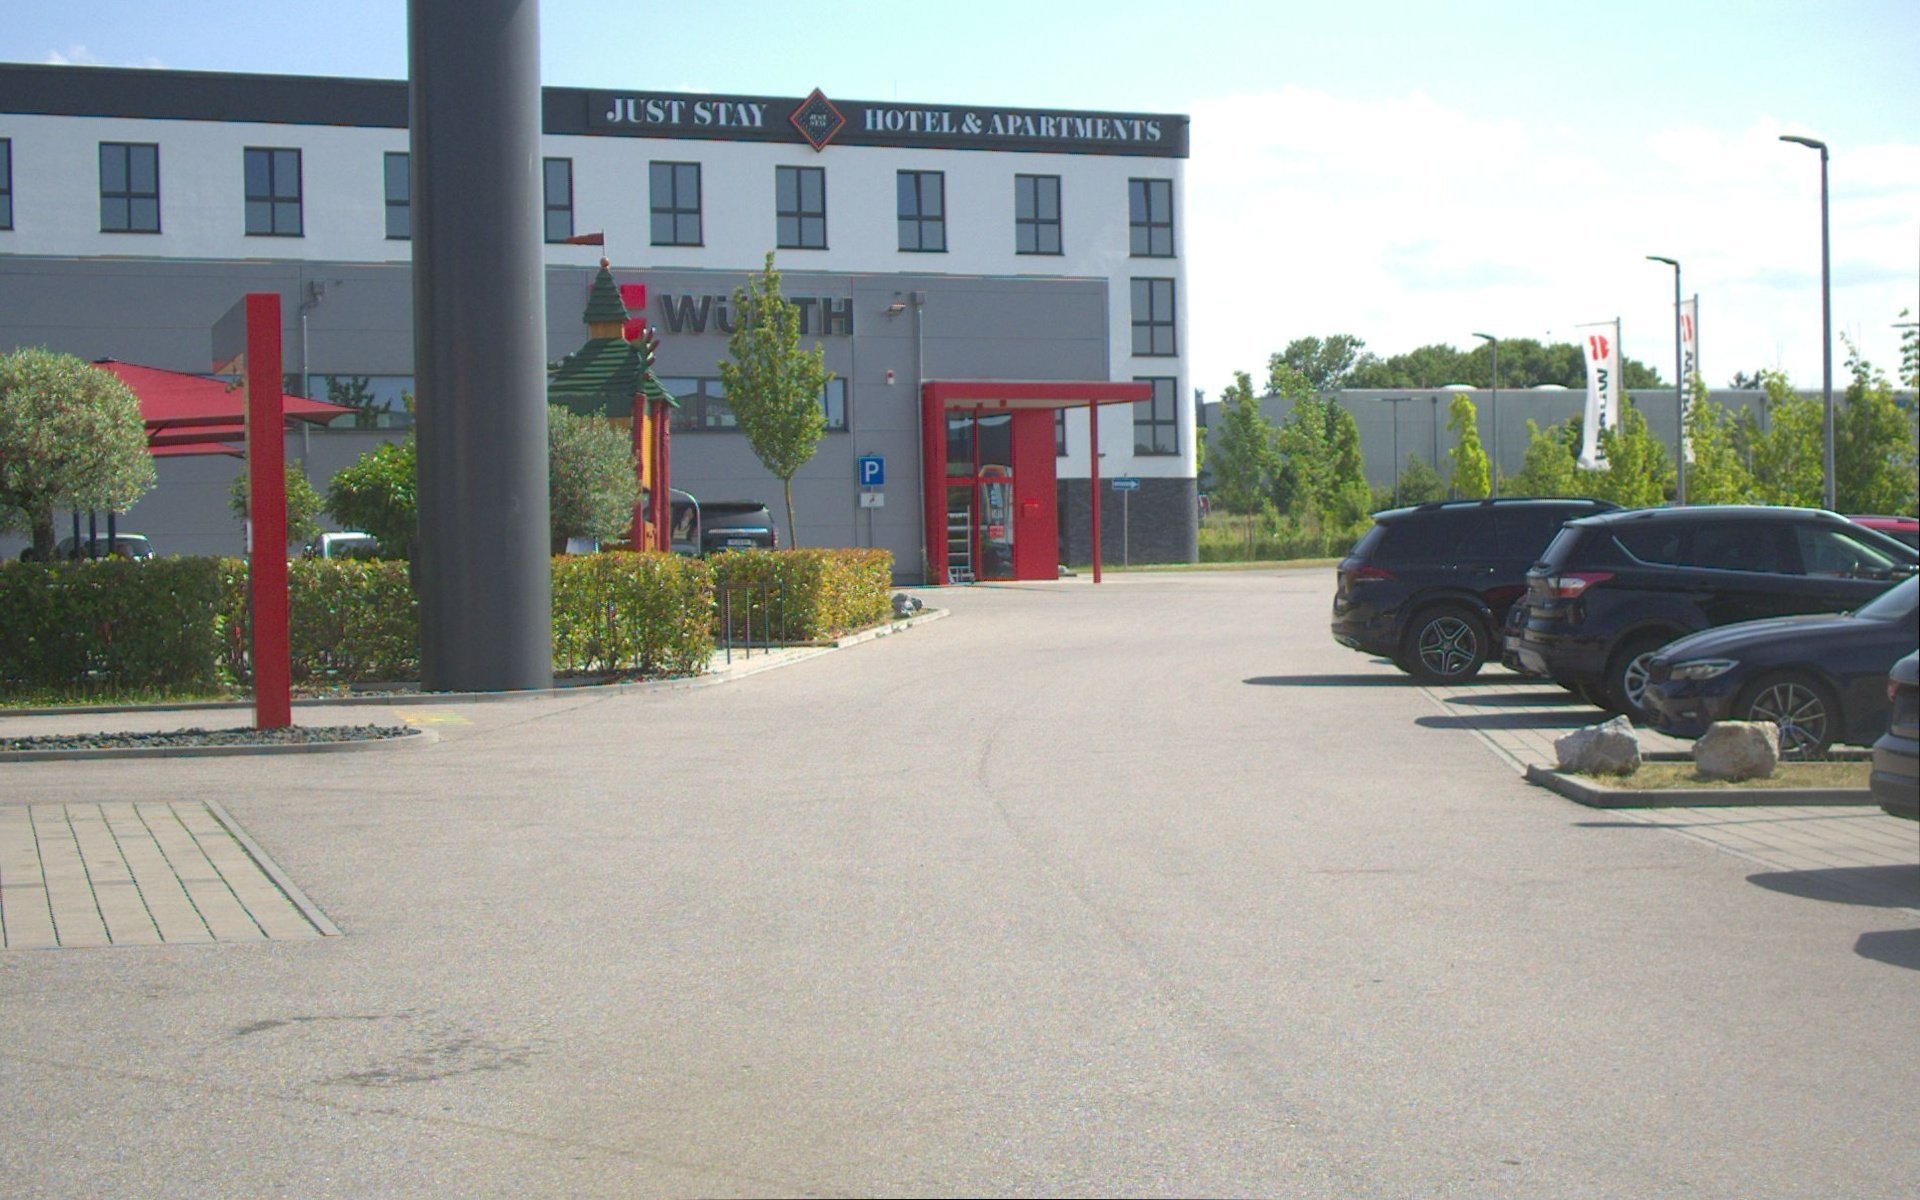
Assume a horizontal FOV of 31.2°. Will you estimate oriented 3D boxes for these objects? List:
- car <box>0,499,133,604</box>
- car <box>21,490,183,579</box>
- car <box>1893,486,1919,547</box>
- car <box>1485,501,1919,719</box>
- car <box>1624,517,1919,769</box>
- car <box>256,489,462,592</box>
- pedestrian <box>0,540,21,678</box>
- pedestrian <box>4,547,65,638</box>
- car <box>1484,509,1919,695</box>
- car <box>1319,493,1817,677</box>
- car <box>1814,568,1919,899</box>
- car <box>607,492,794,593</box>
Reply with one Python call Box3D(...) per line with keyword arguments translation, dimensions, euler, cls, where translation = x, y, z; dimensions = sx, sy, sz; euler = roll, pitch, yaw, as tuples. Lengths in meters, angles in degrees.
Box3D(translation=(-11.915, -0.665, 45.889), dimensions=(1.642, 1.304, 3.842), euler=(-1, 1, -13), cls="car")
Box3D(translation=(-16.054, -1.248, 64.171), dimensions=(1.947, 1.580, 4.377), euler=(-2, 2, -27), cls="car")
Box3D(translation=(28.761, -2.401, 98.644), dimensions=(1.993, 1.727, 4.761), euler=(-1, 2, -10), cls="car")
Box3D(translation=(6.596, 0.052, 27.855), dimensions=(4.317, 1.697, 1.896), euler=(0, 1, -4), cls="car")
Box3D(translation=(6.835, 0.257, 23.108), dimensions=(4.437, 1.632, 1.895), euler=(0, 1, 3), cls="car")
Box3D(translation=(-9.485, -0.964, 54.000), dimensions=(1.947, 1.525, 4.377), euler=(-2, 2, -27), cls="car")
Box3D(translation=(-9.758, 0.092, 34.182), dimensions=(0.649, 1.362, 0.482), euler=(-2, 2, -41), cls="pedestrian")
Box3D(translation=(-11.326, -0.099, 42.064), dimensions=(0.576, 1.086, 0.545), euler=(-1, 2, 0), cls="pedestrian")
Box3D(translation=(6.874, -0.008, 31.043), dimensions=(4.068, 1.603, 1.895), euler=(0, 2, 3), cls="car")
Box3D(translation=(5.903, -0.162, 33.782), dimensions=(4.575, 1.754, 1.896), euler=(0, 1, 1), cls="car")
Box3D(translation=(6.172, 0.568, 15.406), dimensions=(4.192, 1.405, 1.774), euler=(0, 1, -6), cls="car")
Box3D(translation=(-5.160, -1.159, 67.717), dimensions=(2.070, 1.874, 4.880), euler=(-2, 2, -25), cls="car")
